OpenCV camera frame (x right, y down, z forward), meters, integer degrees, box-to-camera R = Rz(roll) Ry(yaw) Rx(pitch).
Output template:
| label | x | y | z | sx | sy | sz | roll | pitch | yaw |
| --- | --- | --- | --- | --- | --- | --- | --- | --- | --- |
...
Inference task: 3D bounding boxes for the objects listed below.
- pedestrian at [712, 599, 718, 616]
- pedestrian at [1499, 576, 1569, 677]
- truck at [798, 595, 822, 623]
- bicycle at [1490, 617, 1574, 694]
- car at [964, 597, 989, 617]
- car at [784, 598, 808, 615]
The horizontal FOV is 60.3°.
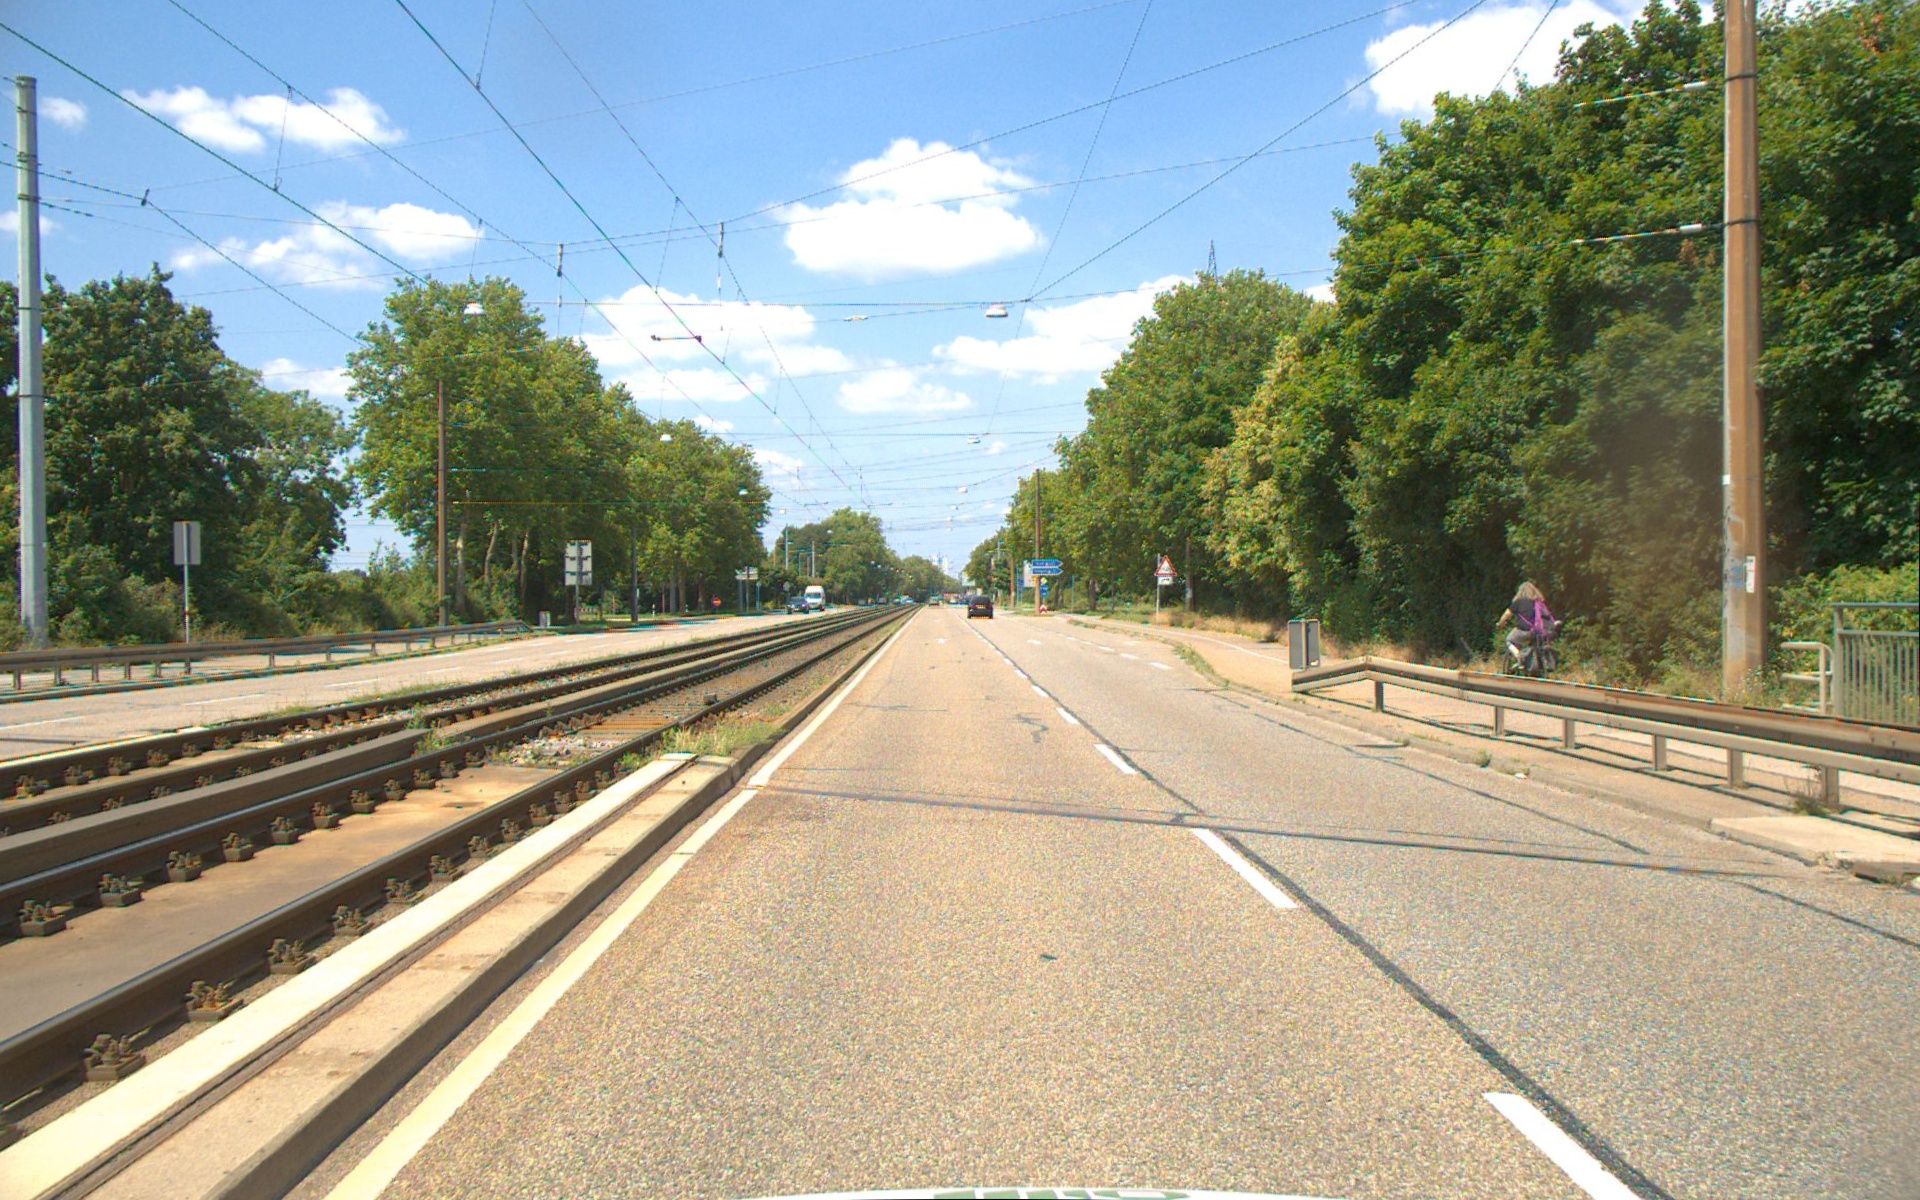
| label | x | y | z | sx | sy | sz | roll | pitch | yaw |
| --- | --- | --- | --- | --- | --- | --- | --- | --- | --- |
| pedestrian | -22.659 | 0.719 | 152.968 | 0.503 | 1.578 | 0.703 | -2 | 0 | -6 |
| pedestrian | 8.223 | 0.373 | 23.729 | 0.615 | 1.398 | 1.050 | -1 | 0 | -1 |
| truck | -16.314 | 0.972 | 180.489 | 2.012 | 2.990 | 6.318 | -2 | 0 | -1 |
| bicycle | 8.226 | 0.772 | 23.847 | 0.548 | 1.042 | 1.847 | -1 | 0 | -1 |
| car | 1.162 | 0.475 | 115.593 | 1.554 | 1.366 | 3.271 | -1 | 1 | -2 |
| car | -15.395 | 0.602 | 155.556 | 1.781 | 1.541 | 4.427 | -1 | 0 | -1 |
